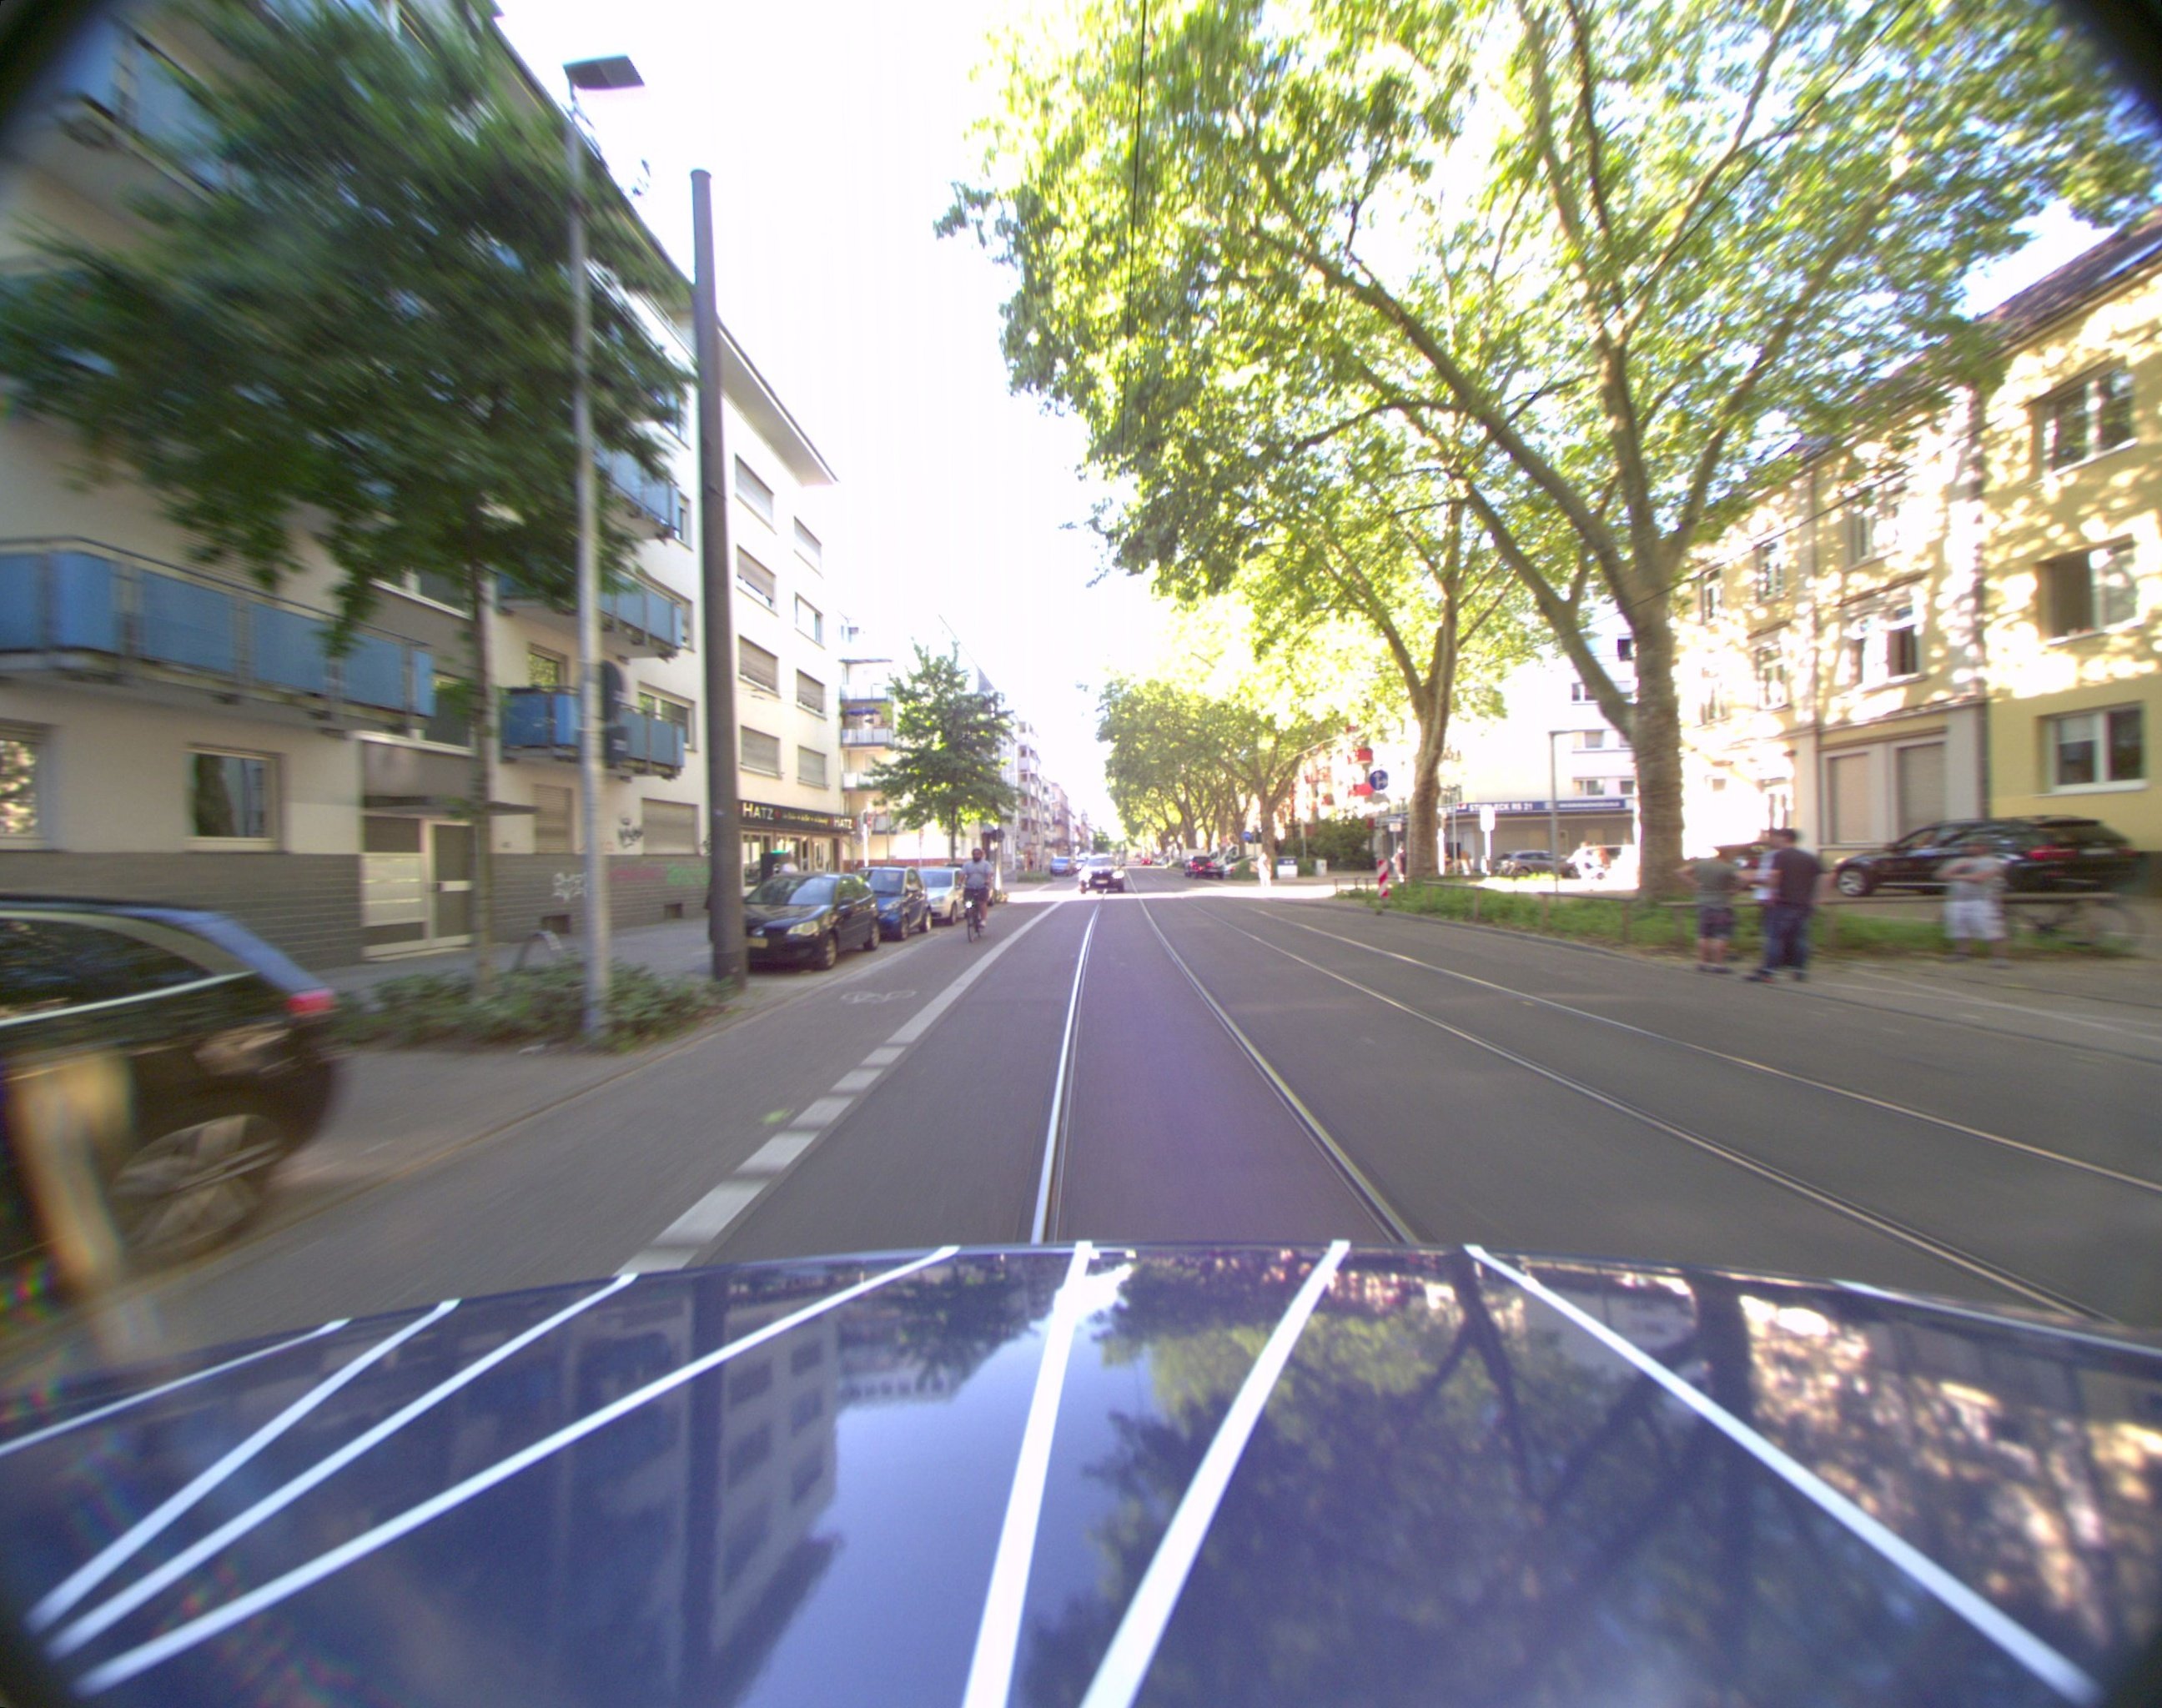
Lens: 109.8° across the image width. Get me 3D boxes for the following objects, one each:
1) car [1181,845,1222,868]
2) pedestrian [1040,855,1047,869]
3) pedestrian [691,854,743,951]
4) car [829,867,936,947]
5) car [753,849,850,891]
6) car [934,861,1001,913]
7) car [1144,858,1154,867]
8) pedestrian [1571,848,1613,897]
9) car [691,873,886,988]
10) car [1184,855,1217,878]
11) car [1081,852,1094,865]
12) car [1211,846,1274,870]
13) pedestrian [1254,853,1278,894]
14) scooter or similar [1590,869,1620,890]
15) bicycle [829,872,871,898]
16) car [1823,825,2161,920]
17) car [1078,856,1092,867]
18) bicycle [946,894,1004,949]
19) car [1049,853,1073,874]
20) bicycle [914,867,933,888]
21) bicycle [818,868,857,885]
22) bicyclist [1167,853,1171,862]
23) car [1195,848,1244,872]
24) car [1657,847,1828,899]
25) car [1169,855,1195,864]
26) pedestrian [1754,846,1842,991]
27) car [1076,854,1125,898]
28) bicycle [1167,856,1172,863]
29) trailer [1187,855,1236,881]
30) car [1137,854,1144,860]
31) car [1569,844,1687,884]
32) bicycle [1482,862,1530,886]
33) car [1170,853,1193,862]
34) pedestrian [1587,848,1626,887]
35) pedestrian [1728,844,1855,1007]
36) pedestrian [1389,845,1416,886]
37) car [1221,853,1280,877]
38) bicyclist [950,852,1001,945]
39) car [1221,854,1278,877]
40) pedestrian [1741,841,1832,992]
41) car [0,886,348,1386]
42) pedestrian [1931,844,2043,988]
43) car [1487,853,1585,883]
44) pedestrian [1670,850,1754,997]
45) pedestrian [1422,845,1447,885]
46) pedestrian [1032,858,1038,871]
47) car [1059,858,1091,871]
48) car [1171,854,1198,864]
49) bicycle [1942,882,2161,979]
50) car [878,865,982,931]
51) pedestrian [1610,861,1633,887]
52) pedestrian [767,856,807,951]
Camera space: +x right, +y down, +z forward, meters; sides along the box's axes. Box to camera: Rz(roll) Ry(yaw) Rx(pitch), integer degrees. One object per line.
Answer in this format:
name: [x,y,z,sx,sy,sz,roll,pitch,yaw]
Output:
car: [14.614,0.294,92.041,4.660,2.518,2.000,-2,1,3]
pedestrian: [-4.945,1.054,99.963,0.697,1.685,0.678,-2,1,3]
pedestrian: [-7.092,0.924,14.807,0.538,1.841,0.665,-1,1,32]
car: [-4.210,1.076,16.494,1.447,1.528,2.882,1,0,2]
car: [-13.163,0.753,36.000,4.000,1.787,1.784,-2,1,-10]
car: [-3.851,1.086,26.422,1.724,1.562,4.259,1,0,-1]
car: [14.565,1.806,163.395,1.998,1.723,4.400,-2,0,3]
pedestrian: [17.452,0.626,25.971,0.713,1.628,1.009,-2,1,0]
car: [-4.503,1.096,12.342,1.626,1.473,3.889,1,0,0]
car: [9.327,0.922,59.678,1.927,1.674,4.182,1,0,1]
car: [1.080,0.721,125.409,1.990,2.085,4.471,-2,0,3]
car: [14.558,0.360,68.693,5.133,1.984,1.999,-2,1,-2]
pedestrian: [8.202,0.844,33.701,0.700,1.781,0.801,-2,1,-10]
scooter or similar: [20.048,0.966,29.084,0.529,0.749,0.896,-2,1,1]
bicycle: [-10.928,1.461,35.938,2.069,1.200,0.482,-2,1,24]
car: [19.480,0.339,16.696,1.998,1.726,4.697,-2,0,5]
car: [0.575,1.131,115.977,1.867,1.499,4.001,-2,0,3]
bicycle: [-2.158,1.374,15.745,0.790,0.932,1.939,-2,0,3]
car: [-1.927,0.933,75.191,1.957,1.914,4.001,-2,0,3]
bicycle: [-9.194,1.342,44.452,0.616,1.144,1.996,-1,0,3]
bicycle: [-14.159,1.311,44.173,2.109,0.986,0.607,0,1,6]
bicyclist: [12.128,0.497,104.518,0.533,1.206,0.666,-2,1,3]
car: [14.036,0.571,77.304,4.660,2.292,2.000,-2,1,3]
car: [20.149,0.527,23.402,1.783,1.379,4.000,-2,0,0]
car: [16.685,0.895,126.057,3.997,1.458,2.000,-2,0,1]
pedestrian: [9.097,0.783,9.649,0.768,1.725,0.718,-1,1,44]
car: [0.957,0.931,34.503,1.998,1.723,4.400,-3,0,3]
bicycle: [12.132,0.794,104.502,0.533,0.900,1.557,-2,0,3]
trailer: [9.190,0.927,54.198,2.452,1.622,6.584,1,0,1]
car: [17.700,0.831,226.853,1.998,1.723,4.400,-2,0,3]
car: [25.185,0.504,35.094,4.011,1.627,1.801,-2,-3,2]
bicycle: [19.668,0.921,35.169,1.867,1.056,0.656,-2,1,-5]
car: [18.624,0.643,140.822,3.997,1.458,2.000,-2,0,1]
pedestrian: [20.516,0.523,29.684,0.774,1.470,1.069,-2,1,1]
pedestrian: [8.124,0.784,8.720,0.713,1.767,0.771,-2,1,2]
pedestrian: [14.103,0.515,33.346,0.741,1.747,0.734,-2,1,-25]
car: [12.858,0.814,57.734,3.997,1.600,1.909,-2,1,1]
bicyclist: [-2.176,0.894,15.770,0.769,1.820,1.099,-2,1,3]
car: [13.347,0.871,60.334,3.997,1.635,2.000,-2,1,1]
pedestrian: [8.595,0.725,9.260,0.768,1.725,0.715,-1,1,44]
car: [-4.563,0.986,1.575,1.763,1.578,4.329,2,0,2]
pedestrian: [10.703,0.703,9.011,0.768,1.600,0.715,-1,1,44]
car: [24.612,0.752,41.210,4.152,1.469,1.835,-2,1,2]
pedestrian: [7.895,0.828,9.502,0.772,1.725,0.712,-3,1,-45]
pedestrian: [15.953,0.476,34.284,0.724,1.770,0.668,-2,1,-21]
pedestrian: [-5.297,1.194,88.202,0.590,1.493,0.600,-2,1,3]
car: [-0.714,1.376,96.096,3.997,1.458,2.000,-2,0,1]
car: [16.669,0.784,122.718,3.997,1.458,2.000,-2,0,1]
bicycle: [11.910,0.899,9.218,1.847,1.073,0.570,-2,1,30]
car: [-3.940,1.086,20.481,1.790,1.528,4.128,1,0,2]
pedestrian: [21.822,0.810,30.663,0.544,1.034,0.545,-3,1,-30]
pedestrian: [-5.869,0.973,15.199,0.477,1.841,0.664,-2,0,0]
